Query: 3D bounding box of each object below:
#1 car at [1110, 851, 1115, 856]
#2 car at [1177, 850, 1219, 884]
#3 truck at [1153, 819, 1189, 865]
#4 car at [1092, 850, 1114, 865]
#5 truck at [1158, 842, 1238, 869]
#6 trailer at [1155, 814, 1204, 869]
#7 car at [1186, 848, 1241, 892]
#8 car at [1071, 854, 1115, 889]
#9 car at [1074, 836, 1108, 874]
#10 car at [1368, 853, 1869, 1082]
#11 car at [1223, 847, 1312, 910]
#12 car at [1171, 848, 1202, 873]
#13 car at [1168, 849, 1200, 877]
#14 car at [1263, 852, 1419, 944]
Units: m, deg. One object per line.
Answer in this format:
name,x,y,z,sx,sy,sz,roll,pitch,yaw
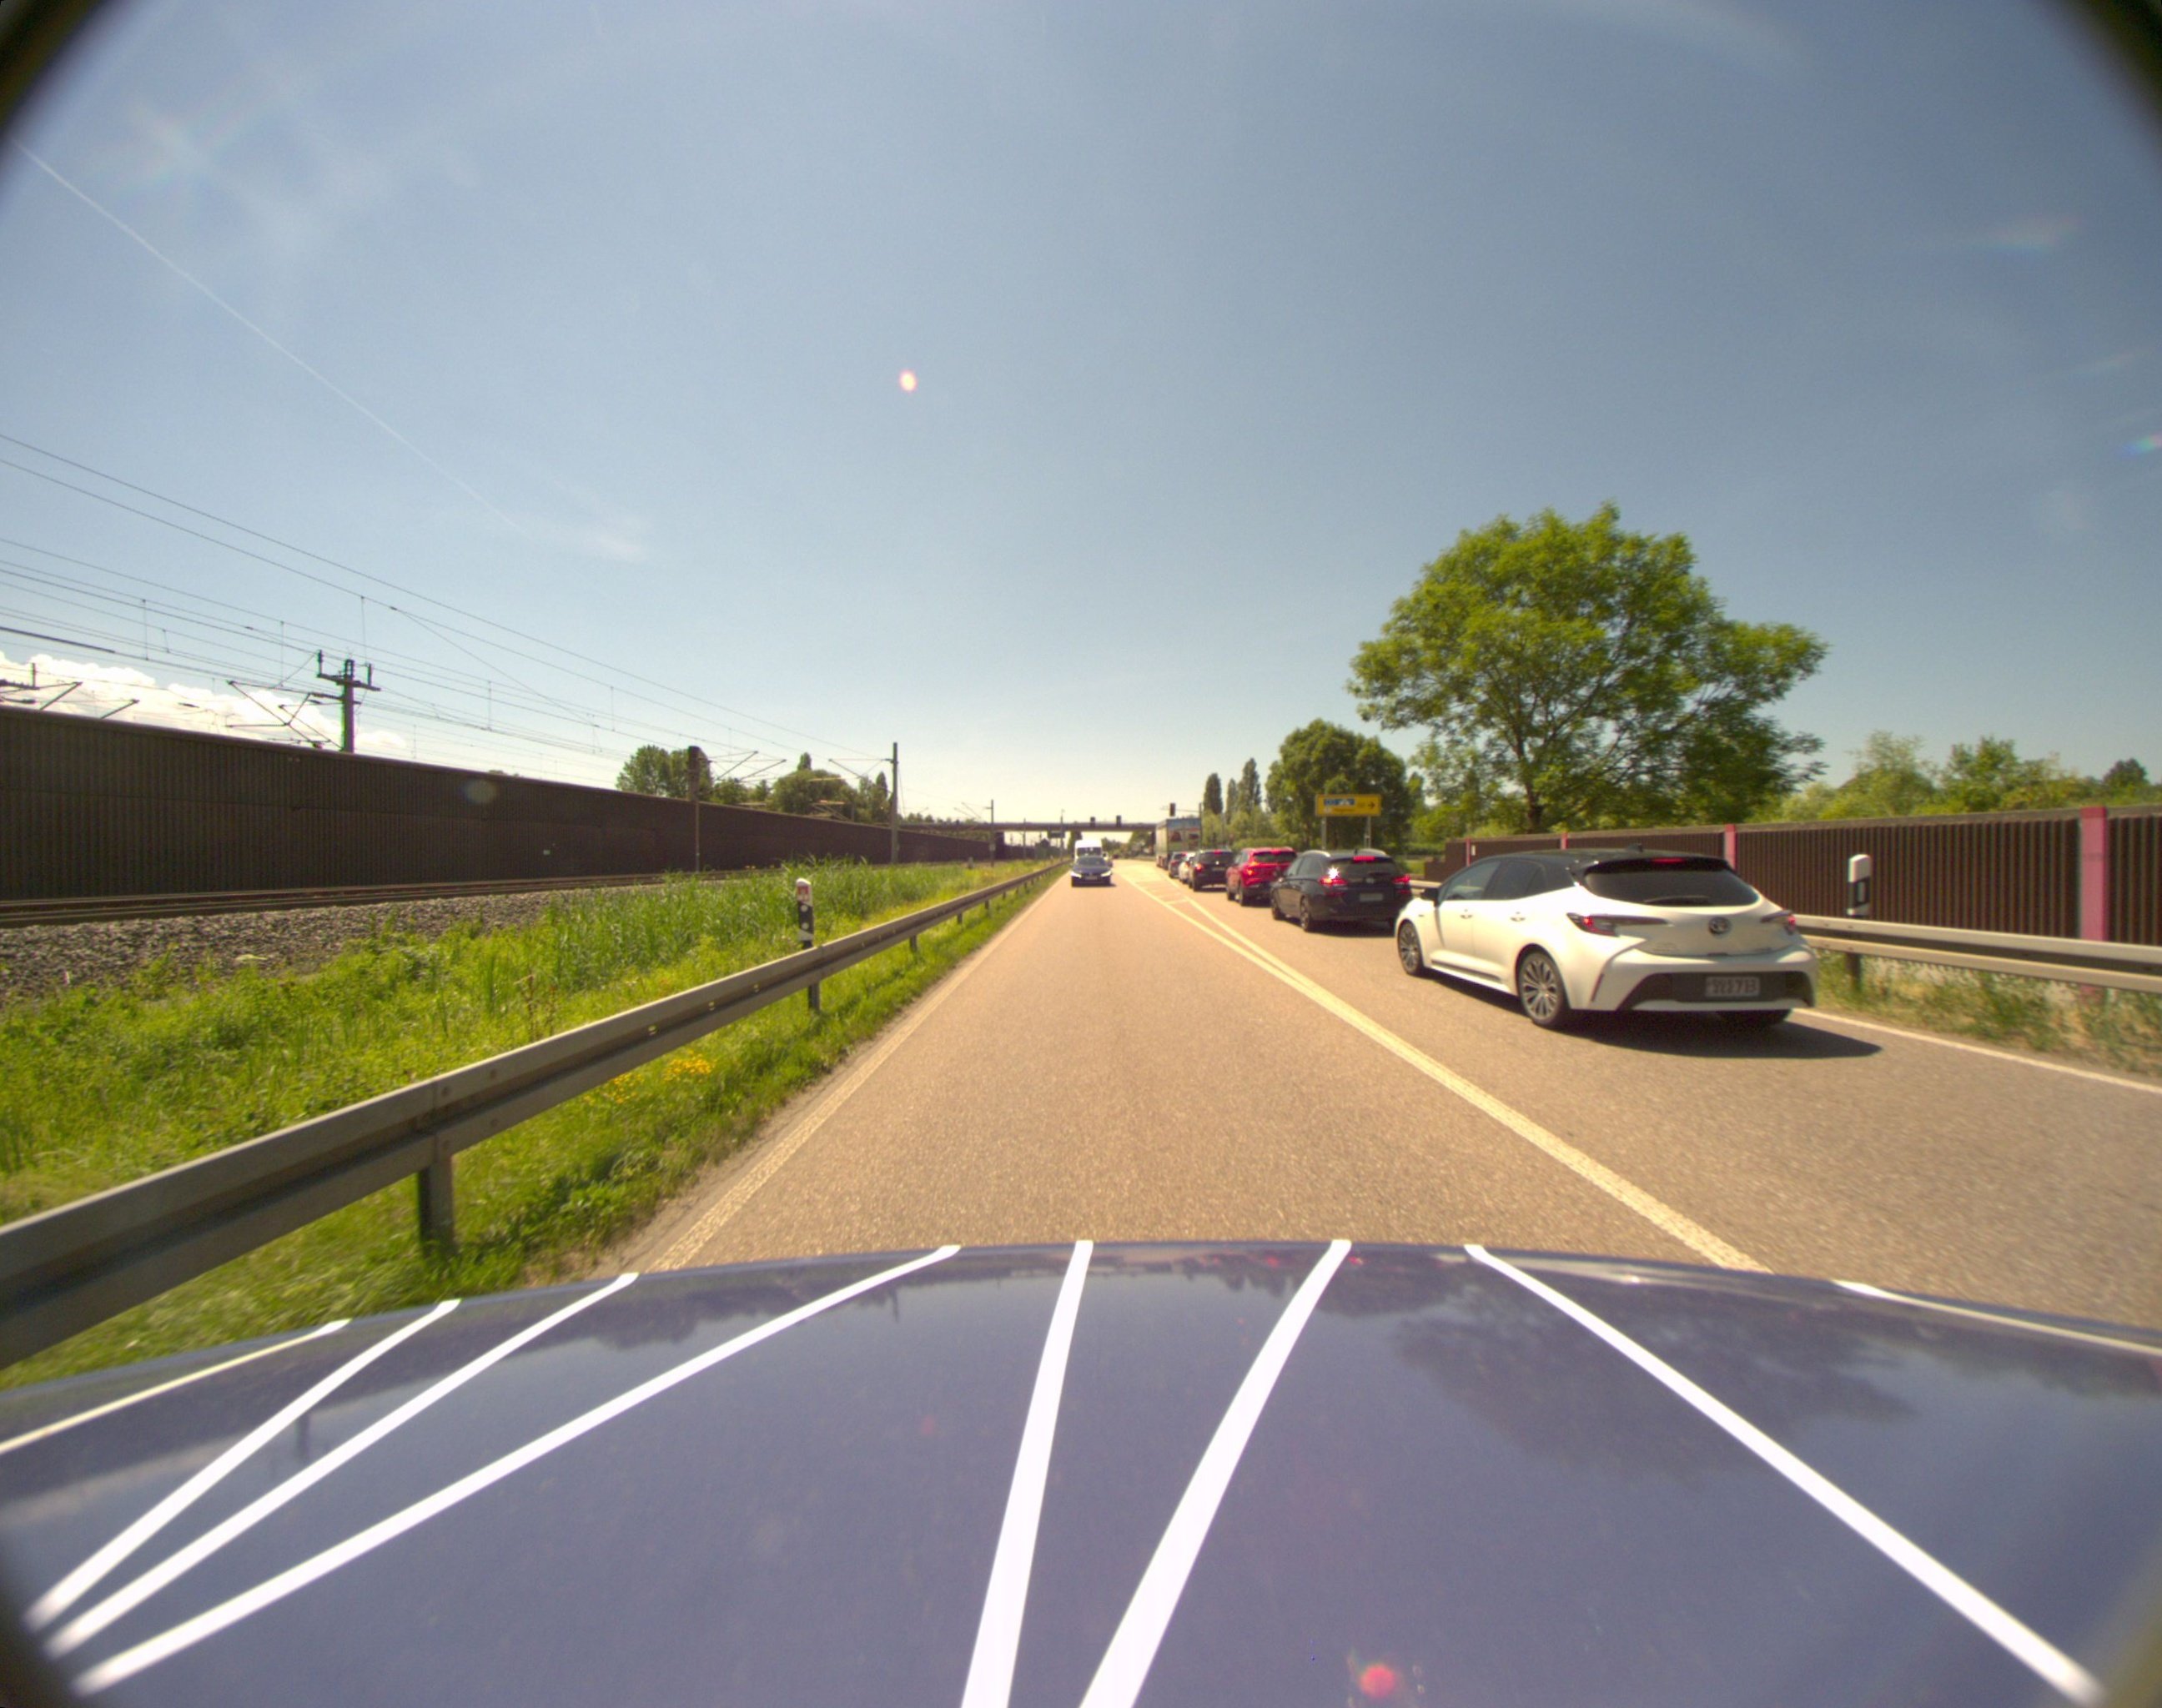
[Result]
car,11.000,-0.122,263.441,1.589,1.553,3.687,-2,0,2
car,5.638,0.584,36.924,1.657,1.470,4.631,-1,0,5
truck,8.255,-1.101,70.363,2.696,4.022,5.825,-2,1,2
car,2.170,0.350,74.053,1.719,1.427,3.962,0,0,8
truck,14.095,0.119,91.469,9.180,3.177,2.692,0,1,-13
trailer,7.988,-1.019,63.499,2.696,4.021,14.125,-2,1,2
car,5.217,0.592,30.351,1.720,1.580,4.536,-1,0,4
car,0.597,0.742,35.140,1.847,1.415,4.562,-2,0,2
car,0.755,0.096,54.189,2.227,2.480,5.983,-1,0,2
car,4.465,0.763,7.394,1.689,1.451,4.616,-2,0,2
car,5.277,0.633,22.009,1.759,1.622,4.280,-1,0,4
car,7.125,0.411,51.465,1.716,1.553,4.155,-1,1,3
car,5.964,0.489,44.239,1.627,1.529,4.385,0,0,5
car,4.848,0.725,14.883,1.689,1.451,4.617,-2,0,3
